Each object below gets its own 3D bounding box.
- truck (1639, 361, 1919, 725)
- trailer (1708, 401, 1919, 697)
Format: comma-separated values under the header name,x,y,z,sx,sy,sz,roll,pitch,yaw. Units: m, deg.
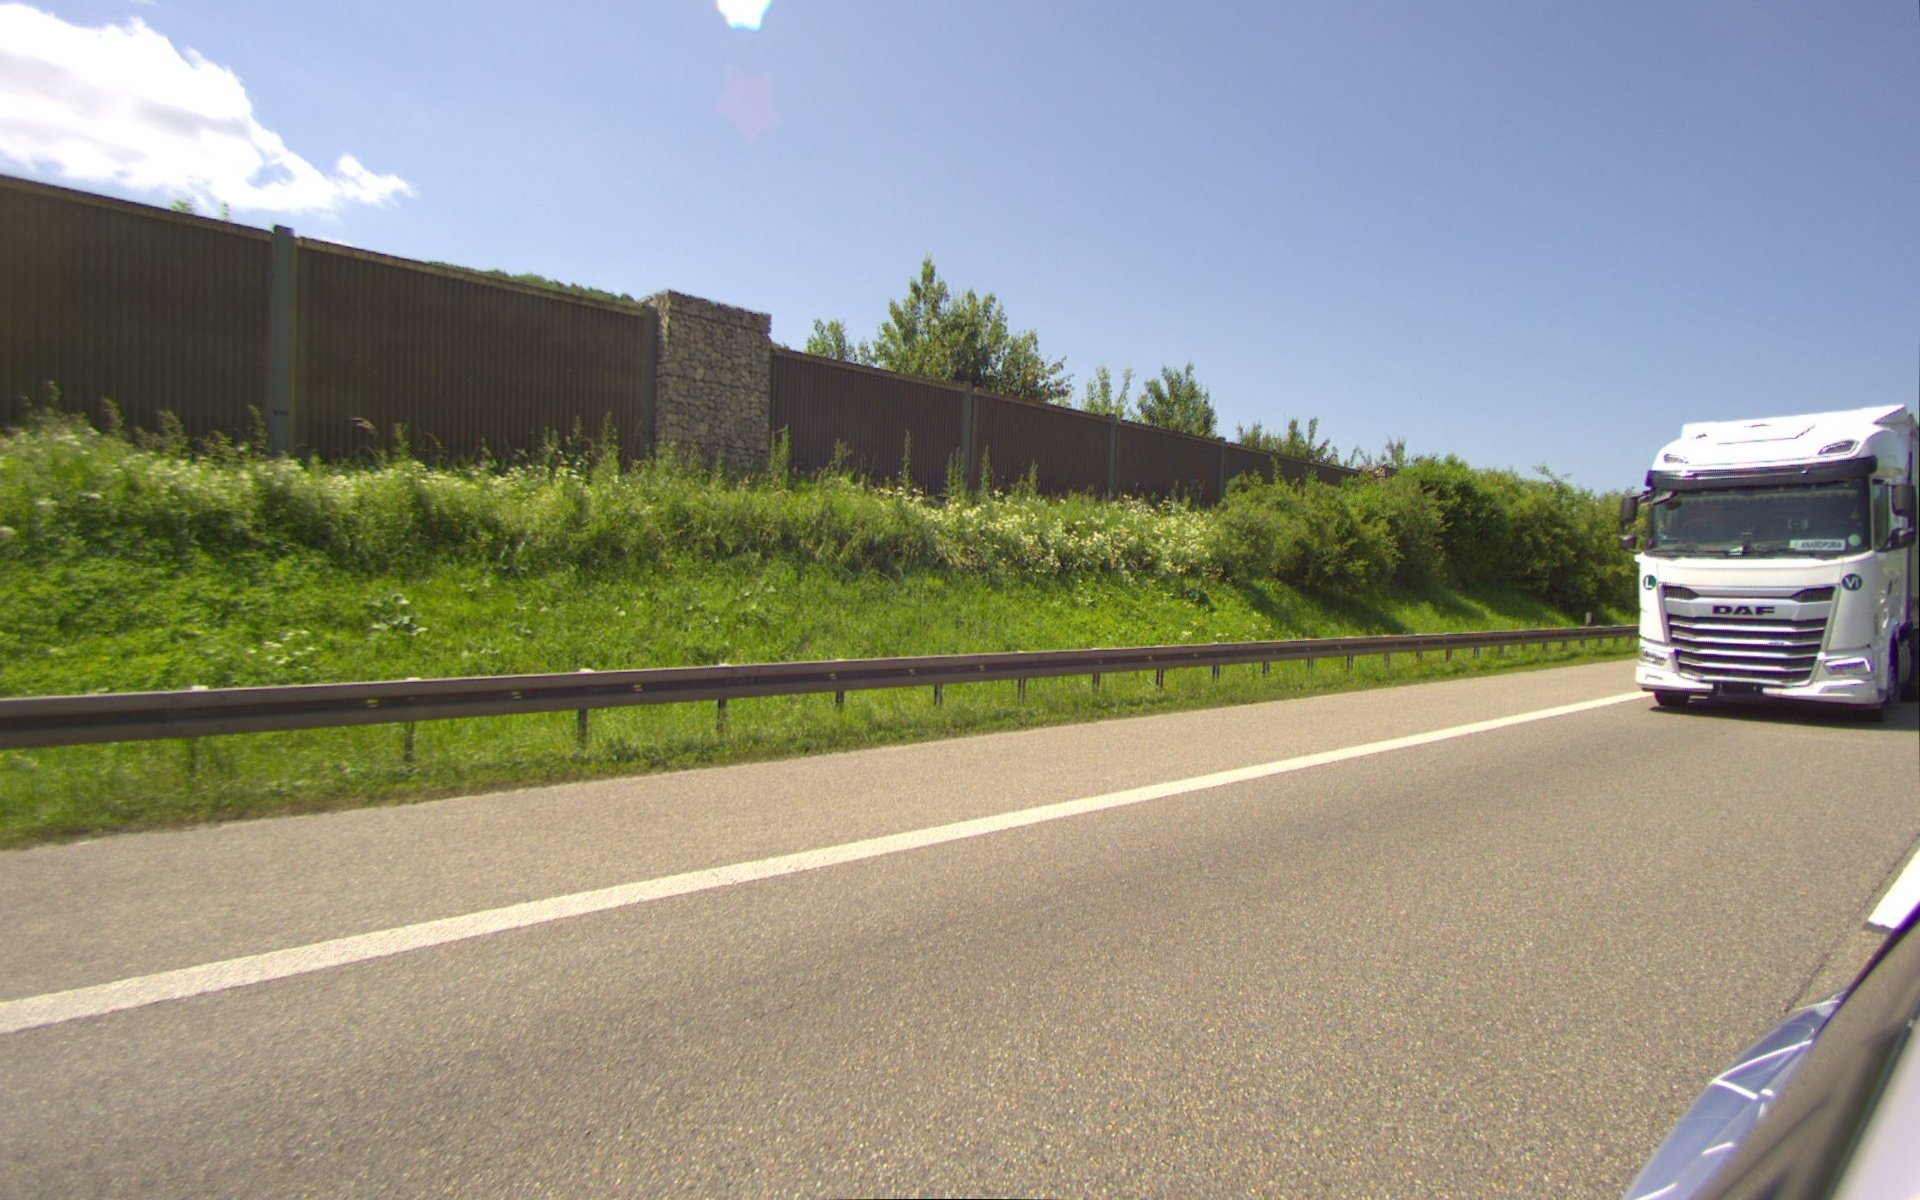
name,x,y,z,sx,sy,sz,roll,pitch,yaw
truck,11.933,-0.669,14.249,6.272,4.027,2.481,0,1,-42
trailer,17.292,-0.746,19.116,13.421,4.027,2.481,0,1,-42
